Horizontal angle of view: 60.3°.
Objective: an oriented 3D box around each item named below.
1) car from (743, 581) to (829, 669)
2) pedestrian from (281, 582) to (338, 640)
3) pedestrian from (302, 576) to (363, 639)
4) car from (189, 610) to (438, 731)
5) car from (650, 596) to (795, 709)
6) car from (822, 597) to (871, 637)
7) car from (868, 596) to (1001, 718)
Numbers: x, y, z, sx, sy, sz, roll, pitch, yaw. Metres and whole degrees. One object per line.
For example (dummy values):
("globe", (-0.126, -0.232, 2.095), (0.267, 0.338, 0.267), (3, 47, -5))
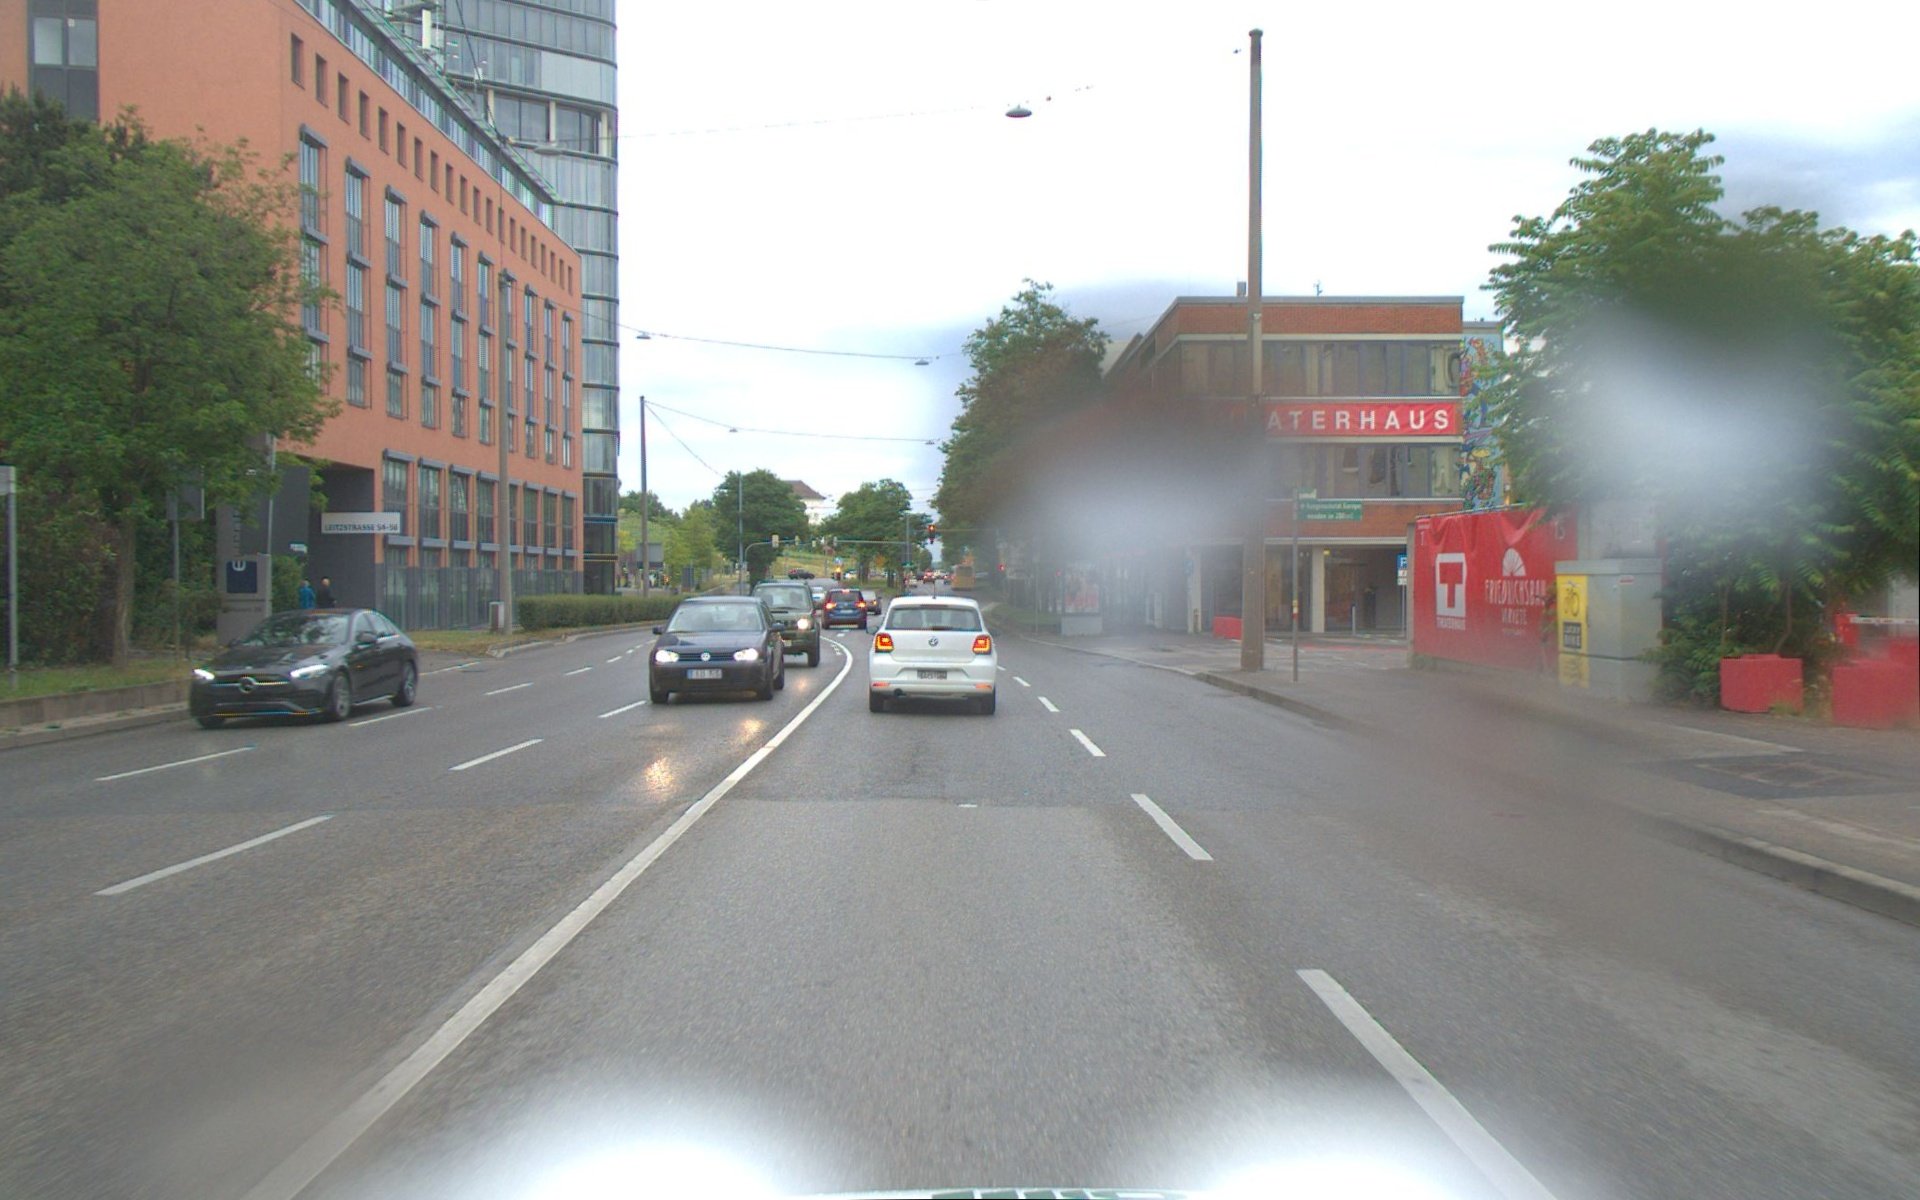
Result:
("car", (-3.586, 0.478, 34.508), (1.472, 1.695, 3.419), (0, 1, -1))
("pedestrian", (-20.265, 0.361, 51.529), (1.182, 1.708, 1.419), (-2, -2, -1))
("pedestrian", (-19.416, 0.249, 51.200), (1.289, 1.855, 1.438), (-2, -2, -1))
("car", (-8.662, 0.880, 22.591), (1.588, 1.346, 4.446), (-2, 1, 0))
("car", (-3.405, 0.706, 24.320), (1.625, 1.512, 3.819), (0, 0, -1))
("car", (-4.739, 0.667, 68.649), (1.955, 1.601, 3.996), (0, 0, -5))
("car", (-0.354, 0.699, 22.211), (1.637, 1.499, 3.778), (0, 0, -1))
